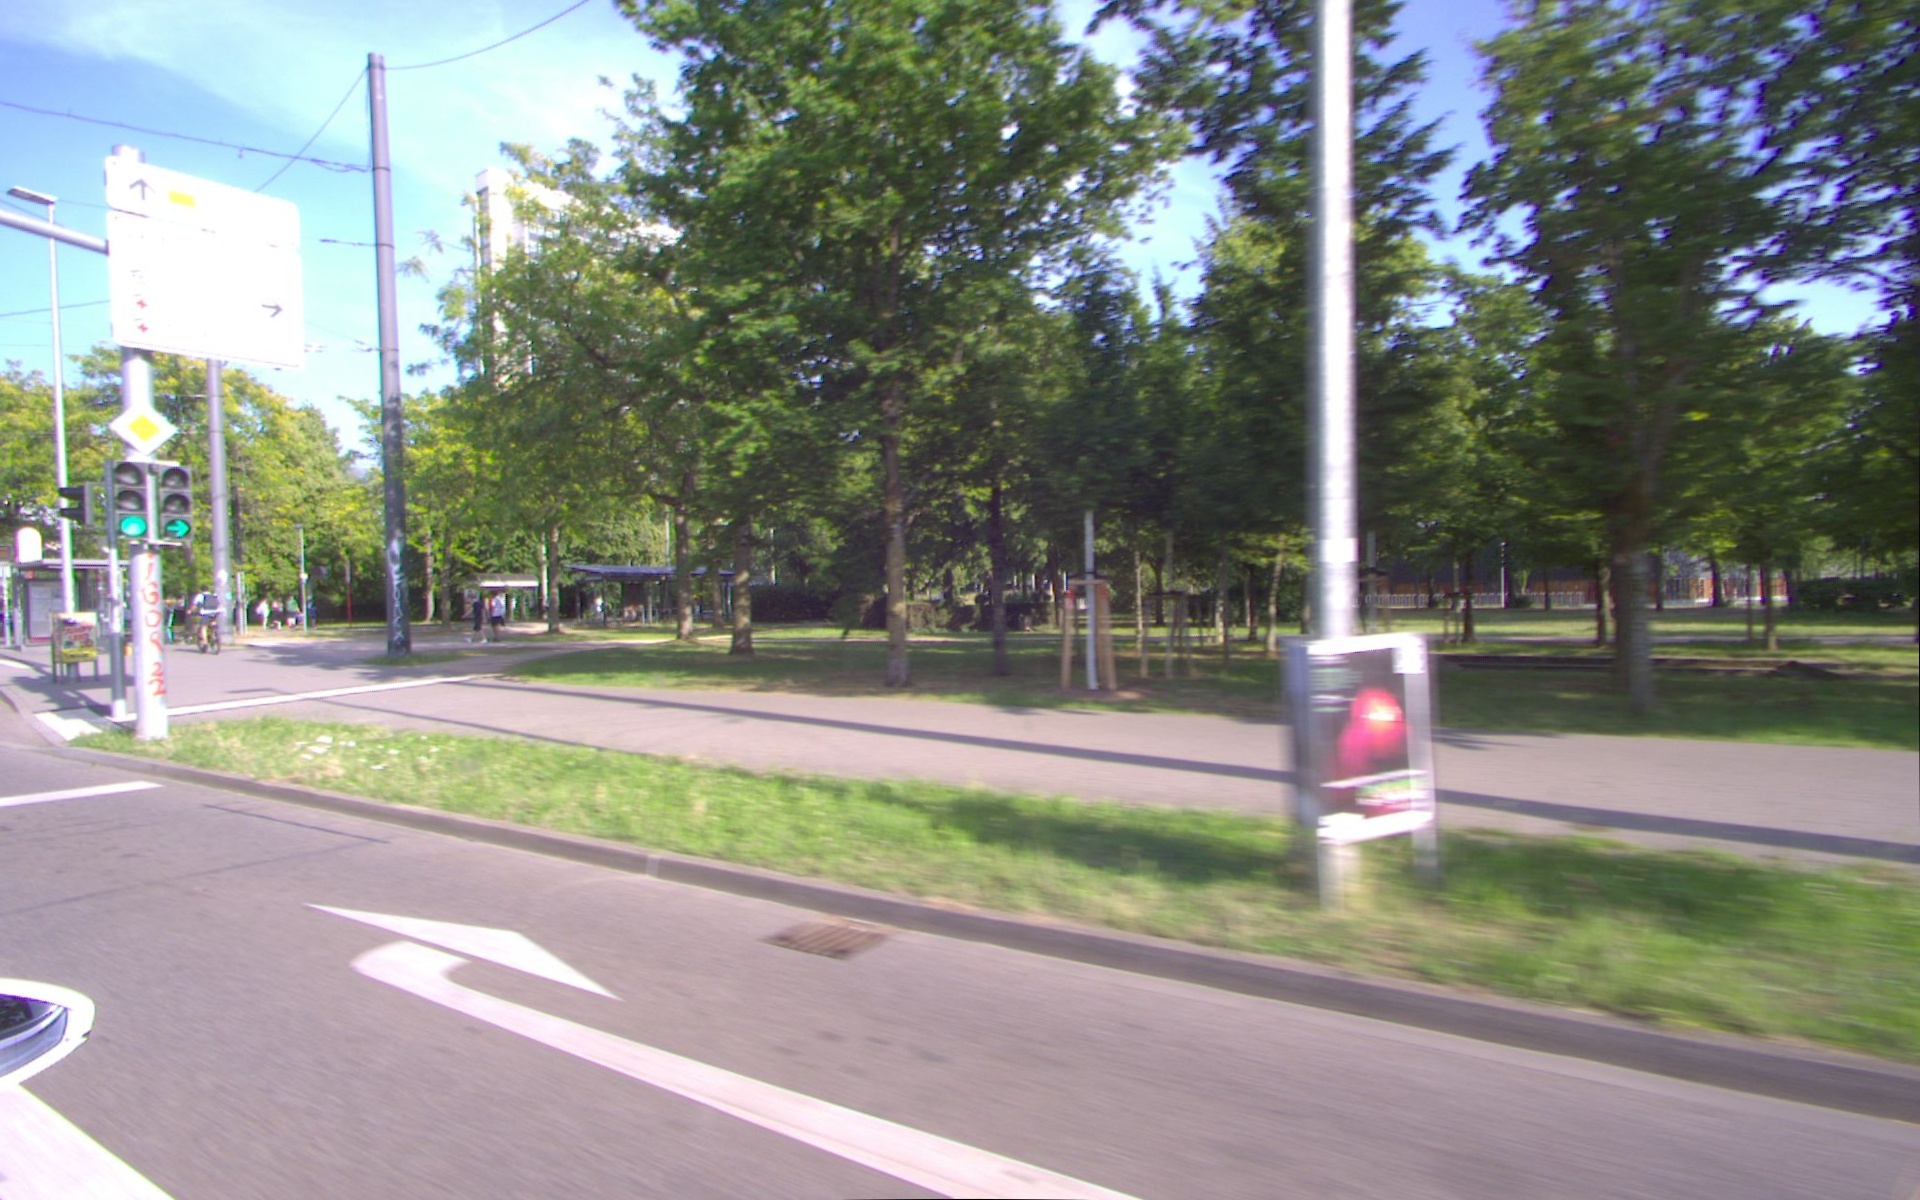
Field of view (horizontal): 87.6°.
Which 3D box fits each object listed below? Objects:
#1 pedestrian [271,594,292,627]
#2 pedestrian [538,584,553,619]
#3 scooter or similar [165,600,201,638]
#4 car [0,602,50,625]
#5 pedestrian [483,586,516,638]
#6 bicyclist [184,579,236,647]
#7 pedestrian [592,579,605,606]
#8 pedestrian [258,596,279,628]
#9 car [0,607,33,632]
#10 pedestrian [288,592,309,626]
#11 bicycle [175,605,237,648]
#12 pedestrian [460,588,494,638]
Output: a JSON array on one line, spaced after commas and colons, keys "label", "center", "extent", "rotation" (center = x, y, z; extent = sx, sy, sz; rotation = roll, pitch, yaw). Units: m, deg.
[{"label": "pedestrian", "center": [-35.002, 0.552, 51.669], "extent": [0.681, 1.687, 0.639], "rotation": [0, 1, 32]}, {"label": "pedestrian", "center": [-22.666, 0.073, 54.793], "extent": [0.594, 1.891, 0.462], "rotation": [0, -1, 2]}, {"label": "scooter or similar", "center": [-25.680, 0.620, 33.088], "extent": [1.115, 1.248, 0.351], "rotation": [-1, 1, 18]}, {"label": "car", "center": [-65.337, 0.926, 69.796], "extent": [1.832, 1.536, 3.980], "rotation": [-3, 1, -29]}, {"label": "pedestrian", "center": [-17.226, 0.443, 37.462], "extent": [0.863, 1.922, 0.673], "rotation": [0, -1, 5]}, {"label": "bicyclist", "center": [-20.173, 0.337, 26.936], "extent": [1.123, 1.770, 0.647], "rotation": [-1, 4, 31]}, {"label": "pedestrian", "center": [-25.184, -0.508, 69.696], "extent": [0.667, 1.823, 0.605], "rotation": [1, -1, -44]}, {"label": "pedestrian", "center": [-35.827, 0.601, 51.867], "extent": [0.681, 1.632, 0.639], "rotation": [0, 1, 32]}, {"label": "car", "center": [-62.095, 1.266, 64.974], "extent": [1.831, 1.536, 3.981], "rotation": [-3, 1, -28]}, {"label": "pedestrian", "center": [-34.086, 0.463, 51.579], "extent": [0.681, 1.687, 0.639], "rotation": [0, 1, 32]}, {"label": "bicycle", "center": [-20.460, 0.715, 27.148], "extent": [1.912, 1.103, 0.639], "rotation": [-1, 3, 32]}, {"label": "pedestrian", "center": [-17.692, 0.489, 36.676], "extent": [0.863, 1.800, 0.673], "rotation": [0, -1, 13]}]
